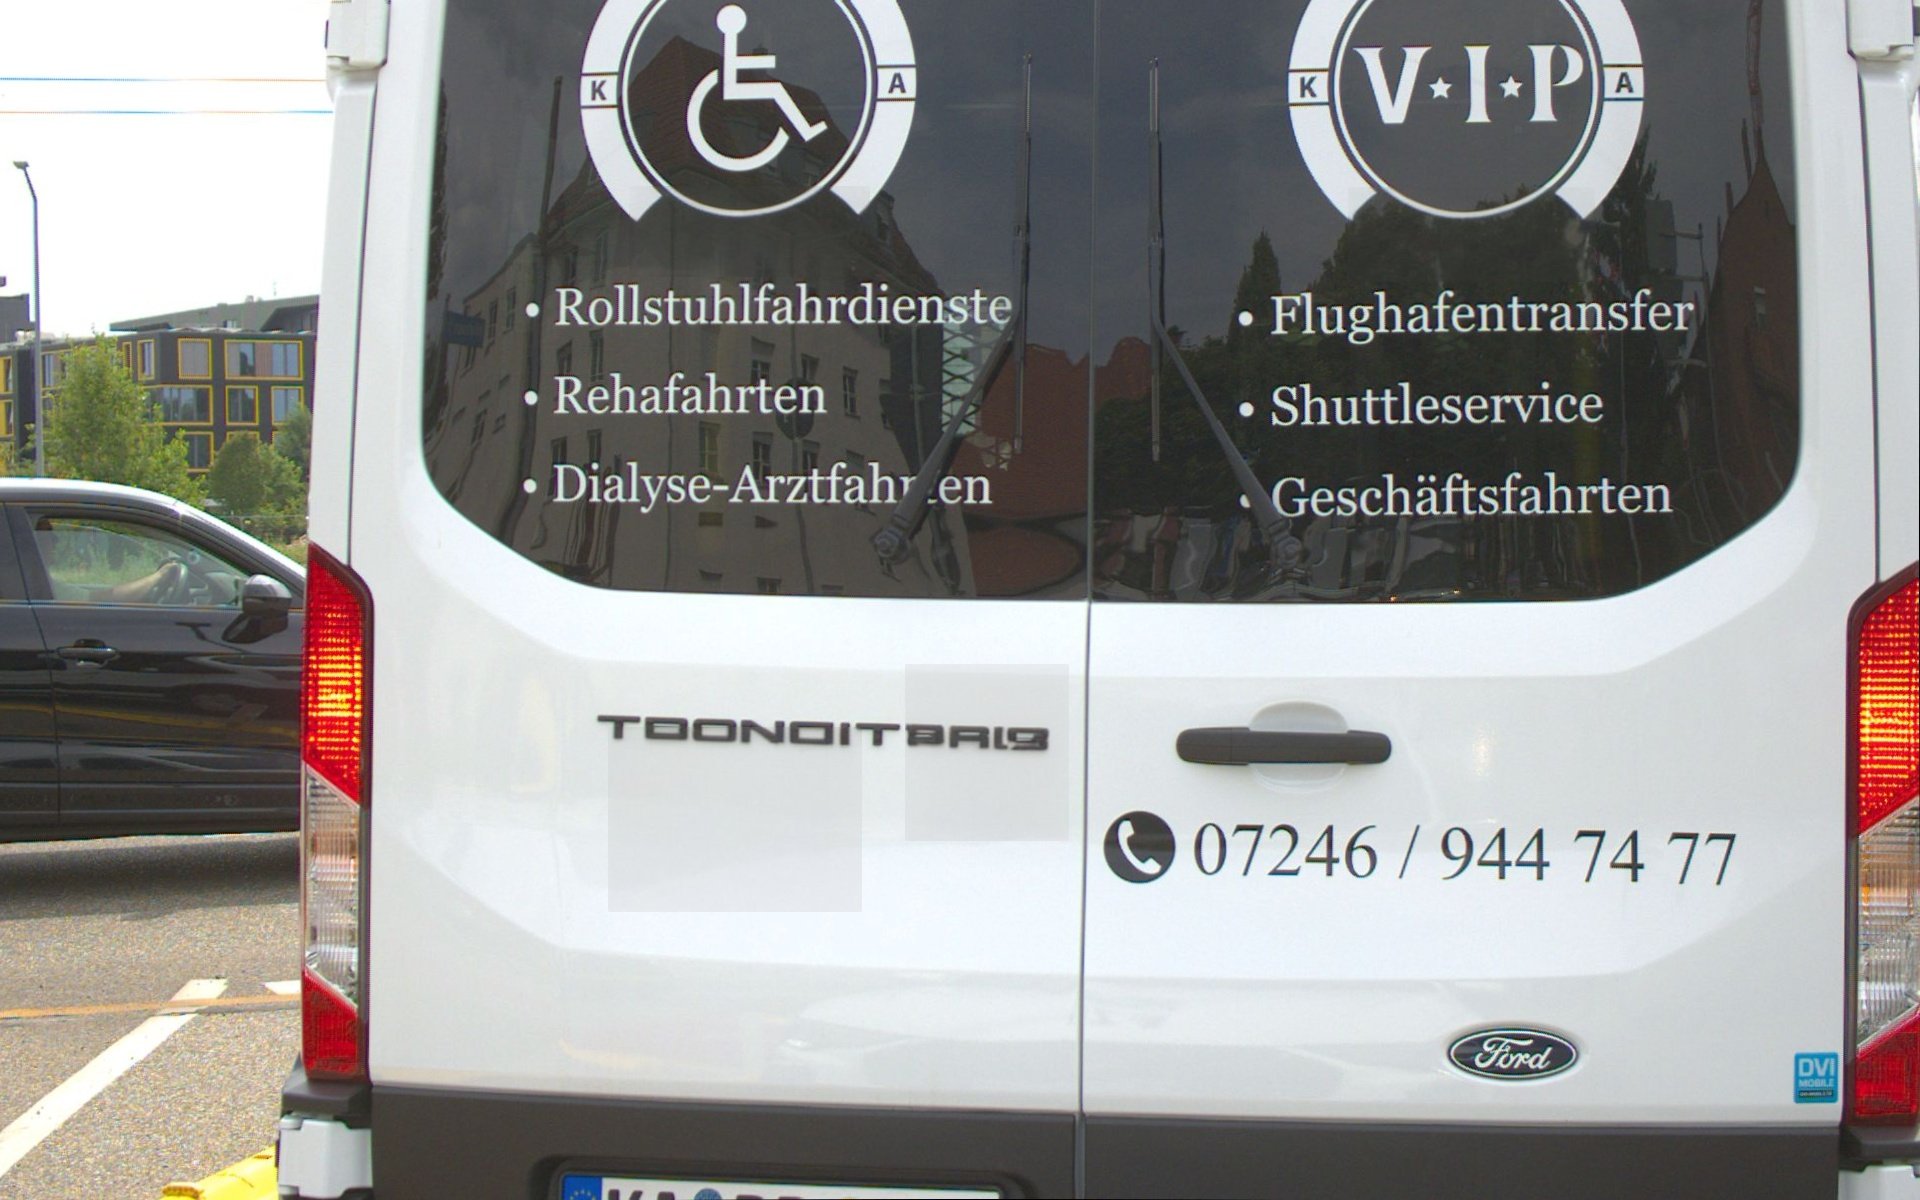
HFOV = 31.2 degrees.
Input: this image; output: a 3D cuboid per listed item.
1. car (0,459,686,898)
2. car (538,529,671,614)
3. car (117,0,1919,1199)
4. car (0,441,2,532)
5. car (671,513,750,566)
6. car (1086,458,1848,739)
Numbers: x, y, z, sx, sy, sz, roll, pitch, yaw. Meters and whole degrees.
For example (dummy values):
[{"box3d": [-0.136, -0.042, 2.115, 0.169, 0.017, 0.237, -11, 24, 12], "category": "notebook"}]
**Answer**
[{"box3d": [-3.284, 0.256, 12.981, 4.132, 1.514, 1.742, -1, 2, -22], "category": "car"}, {"box3d": [-8.602, -0.683, 83.403, 1.995, 2.007, 3.998, 0, 0, 13], "category": "car"}, {"box3d": [0.417, -0.046, 6.425, 2.126, 2.688, 5.631, -1, 1, 5], "category": "car"}, {"box3d": [-23.554, -2.516, 75.643, 4.348, 2.007, 2.000, 0, 0, 6], "category": "car"}, {"box3d": [-7.066, -1.711, 97.718, 1.827, 1.458, 4.000, -1, 1, 2], "category": "car"}, {"box3d": [2.989, -0.074, 19.935, 4.247, 1.457, 1.830, -2, 2, -34], "category": "car"}]
